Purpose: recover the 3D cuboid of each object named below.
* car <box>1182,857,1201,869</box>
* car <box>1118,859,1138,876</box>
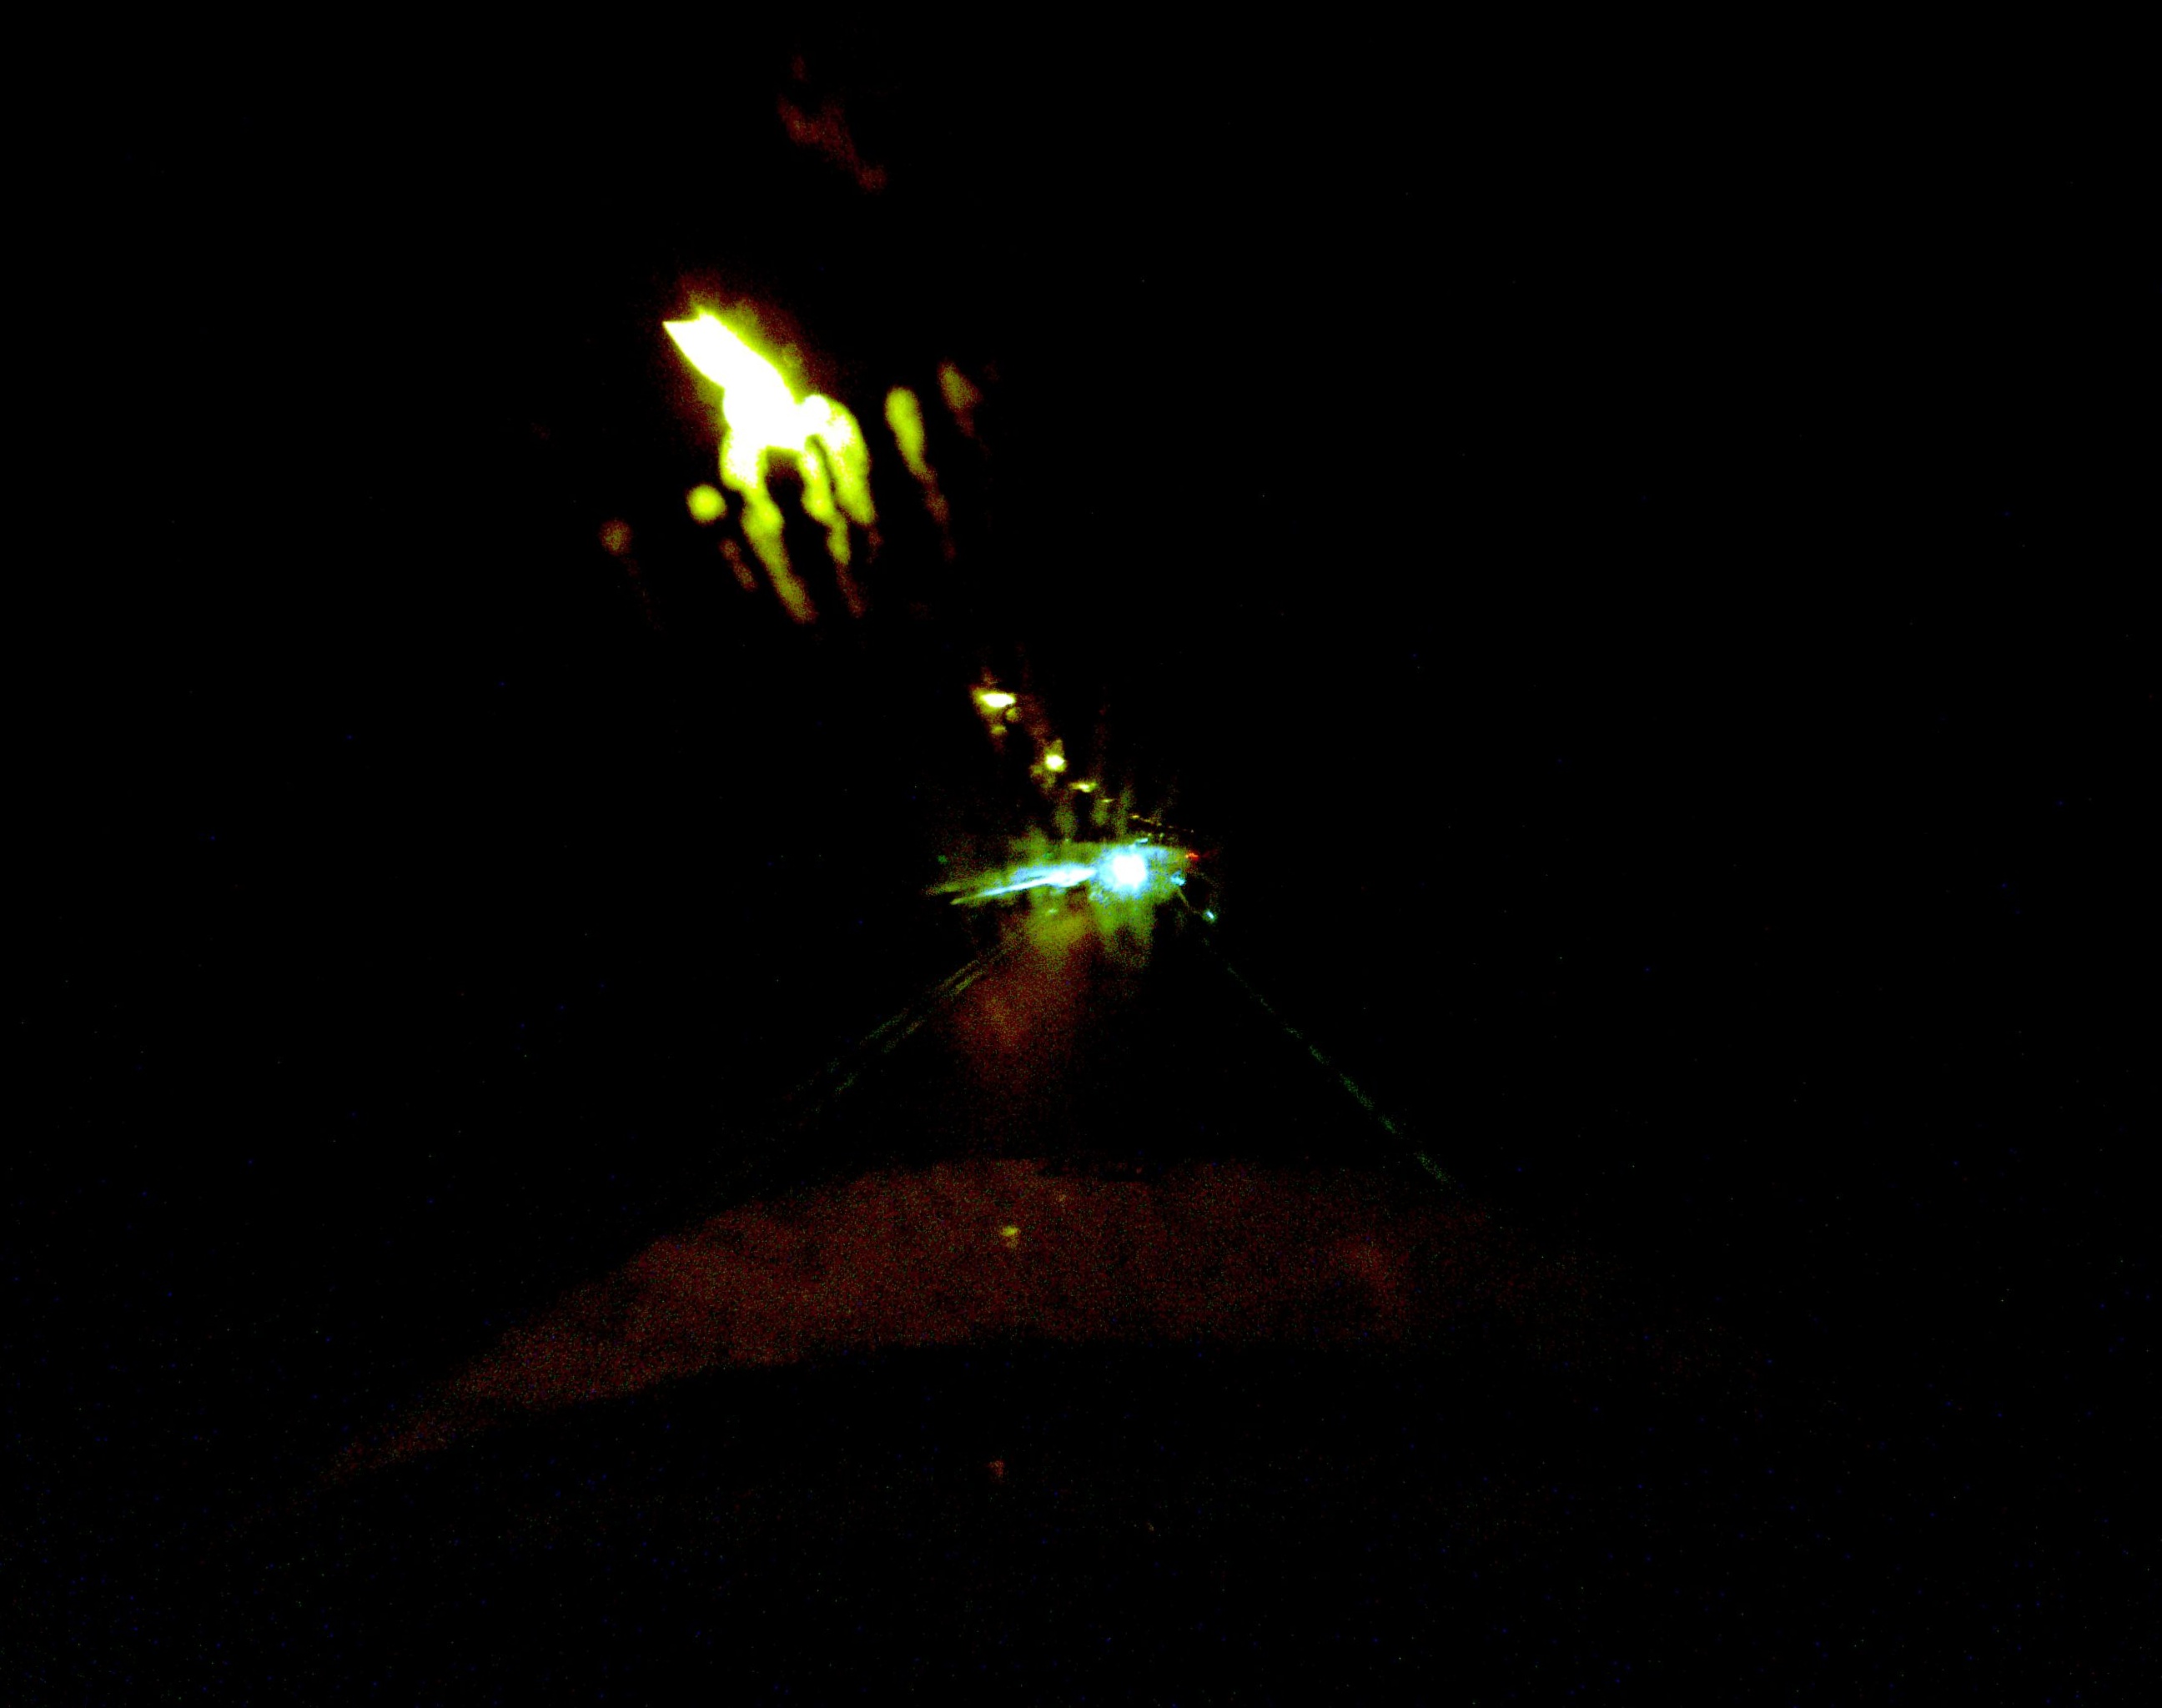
[{"bbox_3d":[15.233,1.240,111.899,1.978,1.650,4.018,-1,0,18],"label":"car"},{"bbox_3d":[4.468,1.273,76.819,1.700,1.510,4.086,0,0,6],"label":"car"}]
